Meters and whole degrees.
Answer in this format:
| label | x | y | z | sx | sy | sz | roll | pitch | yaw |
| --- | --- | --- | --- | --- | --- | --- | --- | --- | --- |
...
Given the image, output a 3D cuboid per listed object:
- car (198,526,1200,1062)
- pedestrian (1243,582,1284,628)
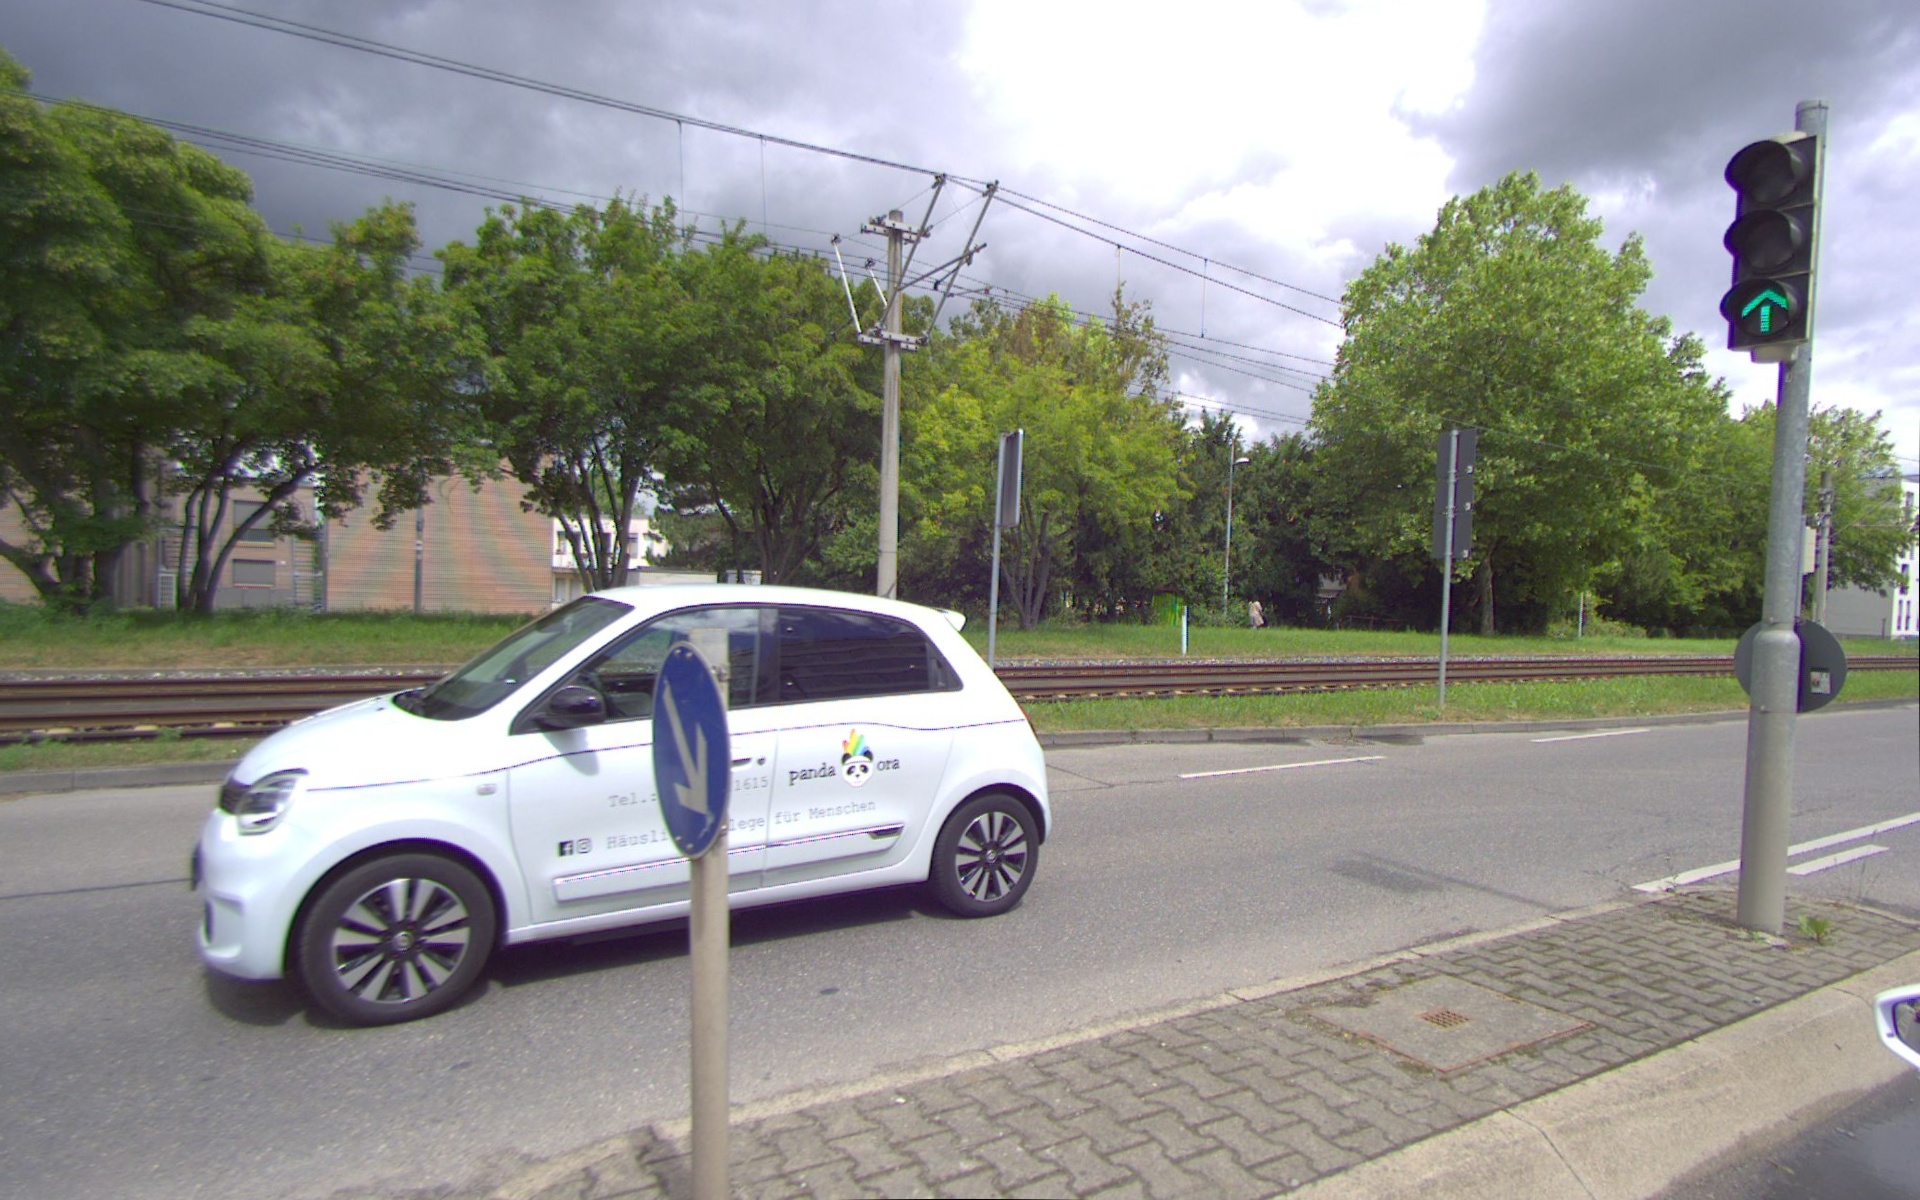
| label | x | y | z | sx | sy | sz | roll | pitch | yaw |
| --- | --- | --- | --- | --- | --- | --- | --- | --- | --- |
| car | -0.974 | 0.647 | 4.933 | 4.217 | 1.634 | 1.718 | 2 | 0 | -33 |
| pedestrian | 13.408 | 0.208 | 44.390 | 1.347 | 1.959 | 1.029 | 2 | 2 | -31 |
